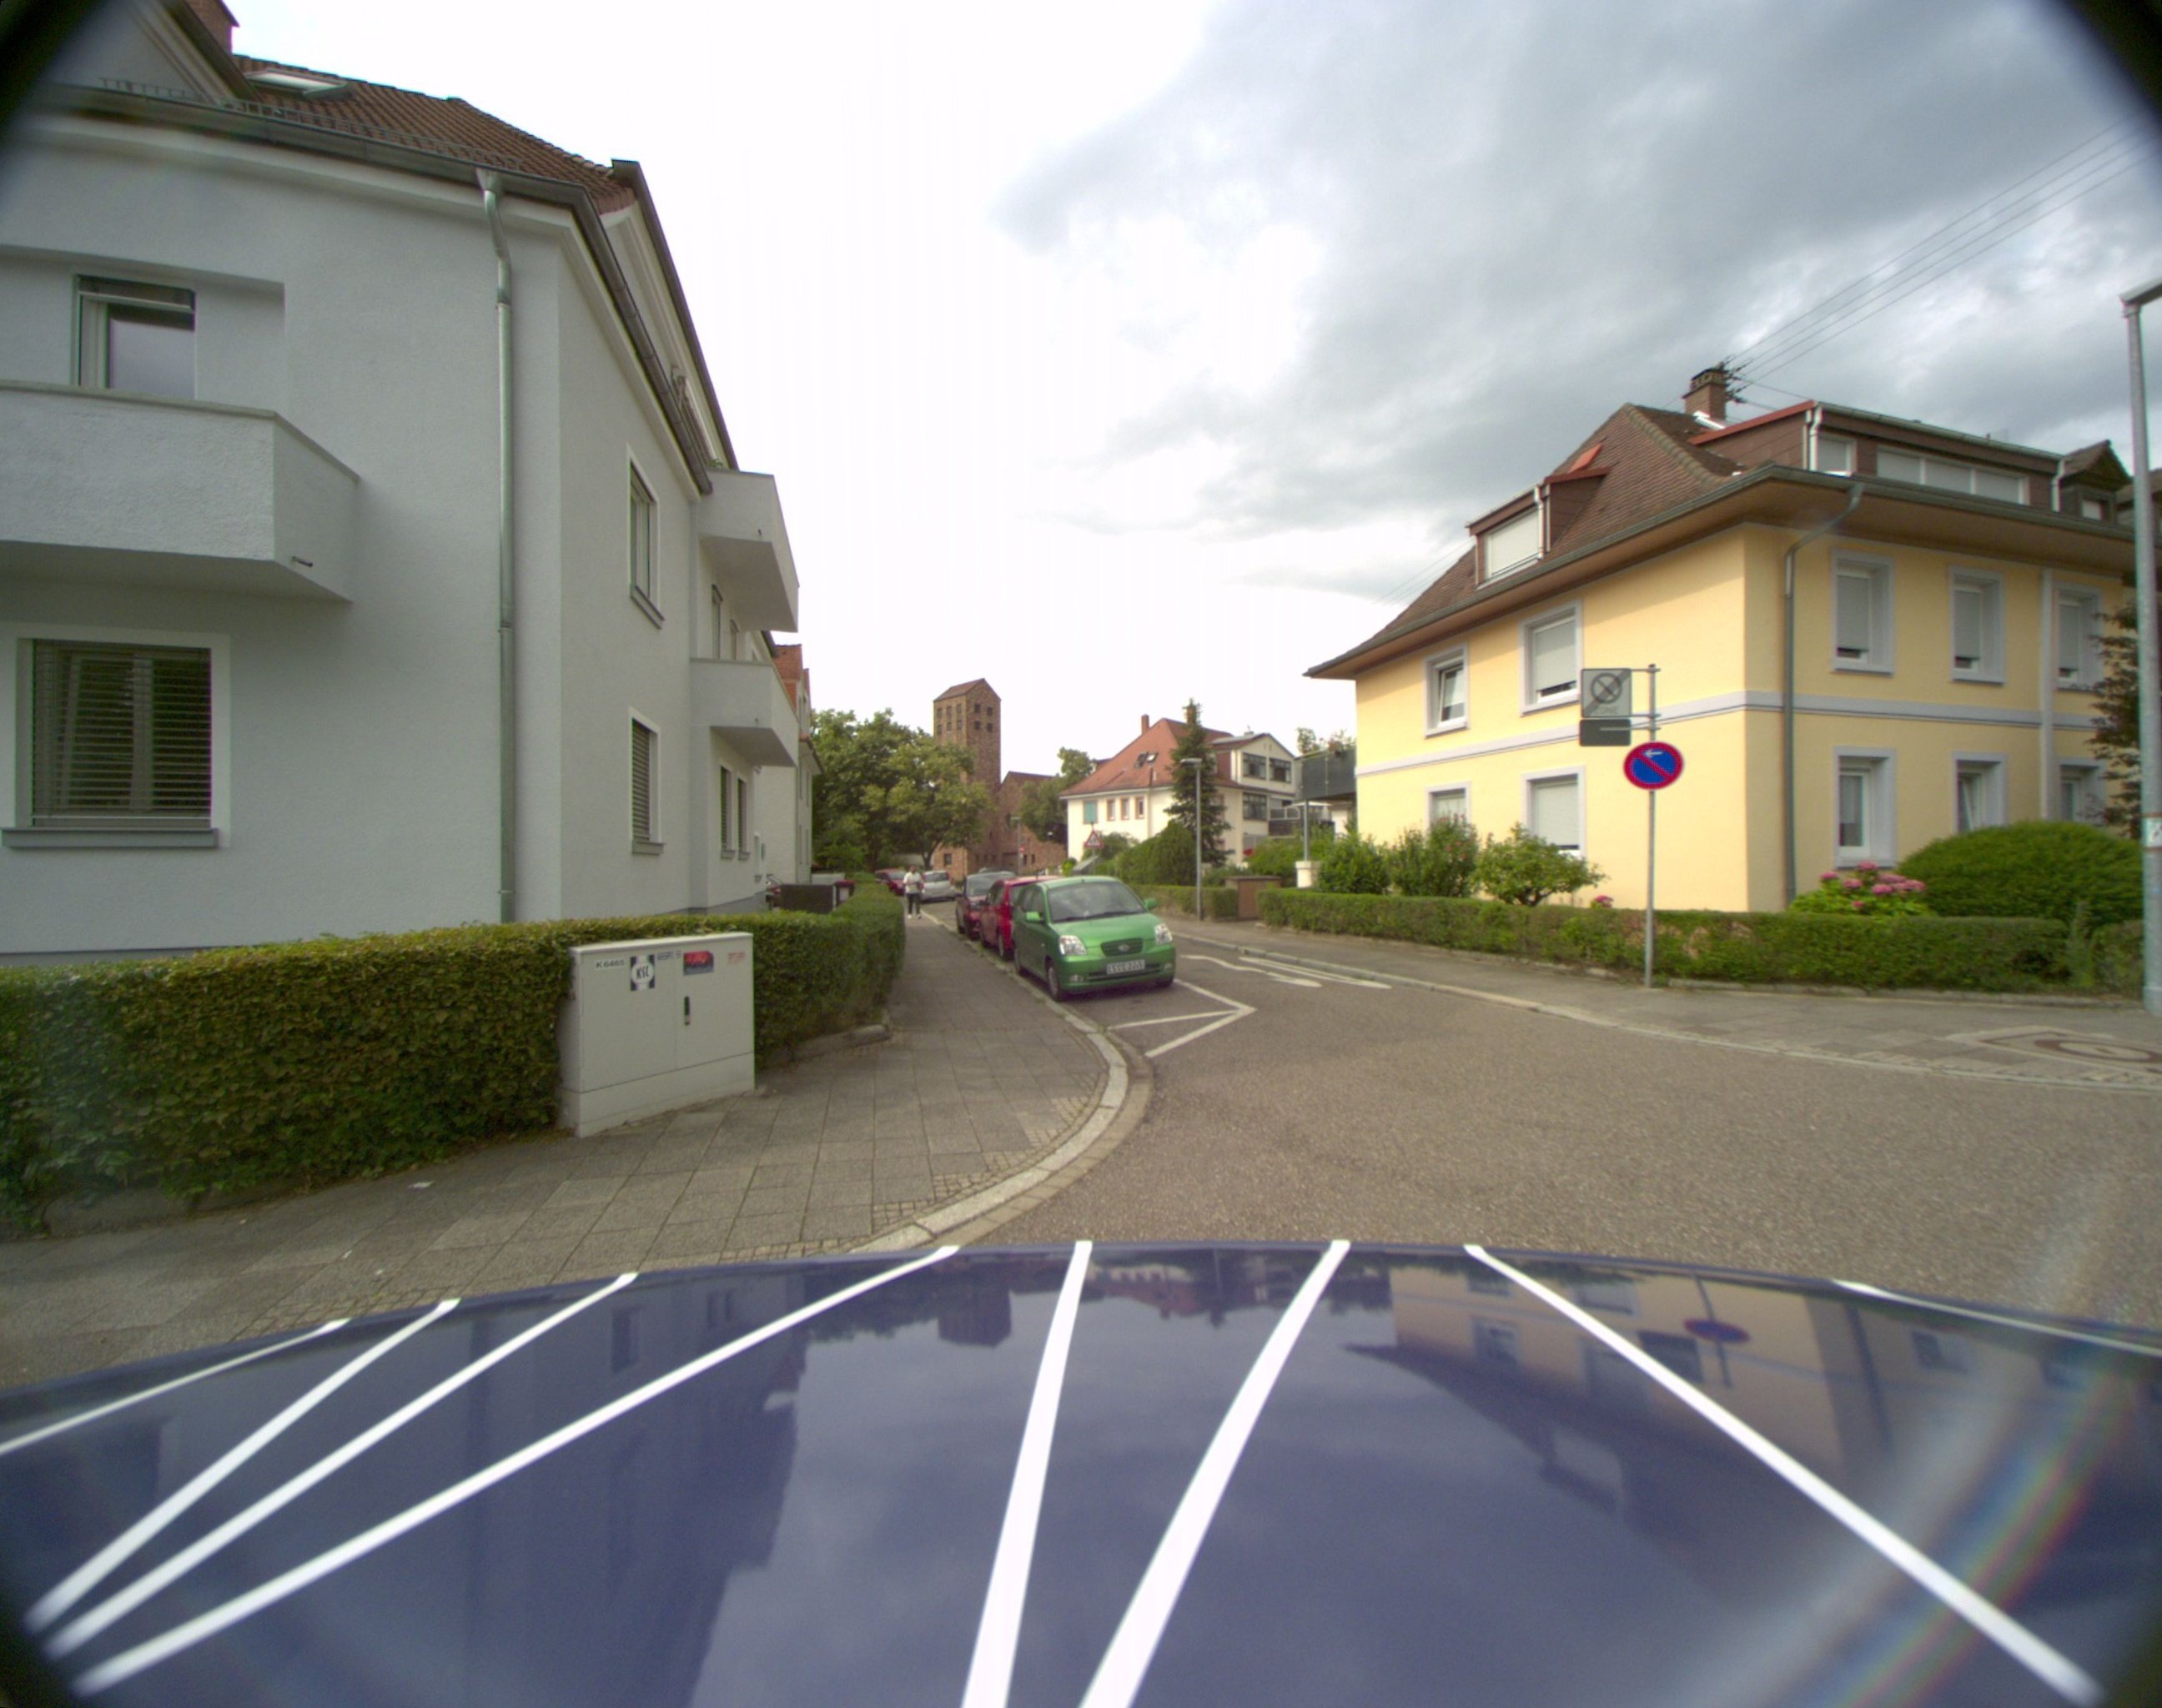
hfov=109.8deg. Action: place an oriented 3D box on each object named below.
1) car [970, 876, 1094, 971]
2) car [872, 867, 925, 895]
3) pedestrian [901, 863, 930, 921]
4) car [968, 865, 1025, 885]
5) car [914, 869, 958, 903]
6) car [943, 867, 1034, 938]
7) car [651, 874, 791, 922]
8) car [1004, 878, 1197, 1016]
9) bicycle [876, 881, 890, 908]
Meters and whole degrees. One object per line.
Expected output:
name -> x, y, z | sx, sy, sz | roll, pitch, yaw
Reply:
car -> -1.098, 1.266, 15.097 | 1.652, 1.487, 3.477 | -4, 0, -16
car -> -11.015, 1.622, 45.767 | 1.654, 1.487, 3.472 | -4, 1, -39
pedestrian -> -5.487, 1.238, 25.150 | 0.884, 1.867, 1.077 | -1, 0, -15
car -> -6.601, 1.643, 59.345 | 4.230, 1.456, 1.681 | 0, 1, -16
car -> -7.111, 1.517, 37.031 | 1.652, 1.487, 3.477 | -4, 0, -16
car -> -2.415, 1.143, 19.228 | 1.652, 1.487, 3.477 | -4, 0, -16
car -> -12.141, 1.448, 25.889 | 4.002, 1.455, 1.998 | 0, 0, -15
car -> 0.089, 1.130, 10.662 | 1.652, 1.413, 3.477 | -4, 0, -16
bicycle -> -8.635, 1.749, 33.088 | 0.423, 1.097, 2.112 | 0, 0, -20
